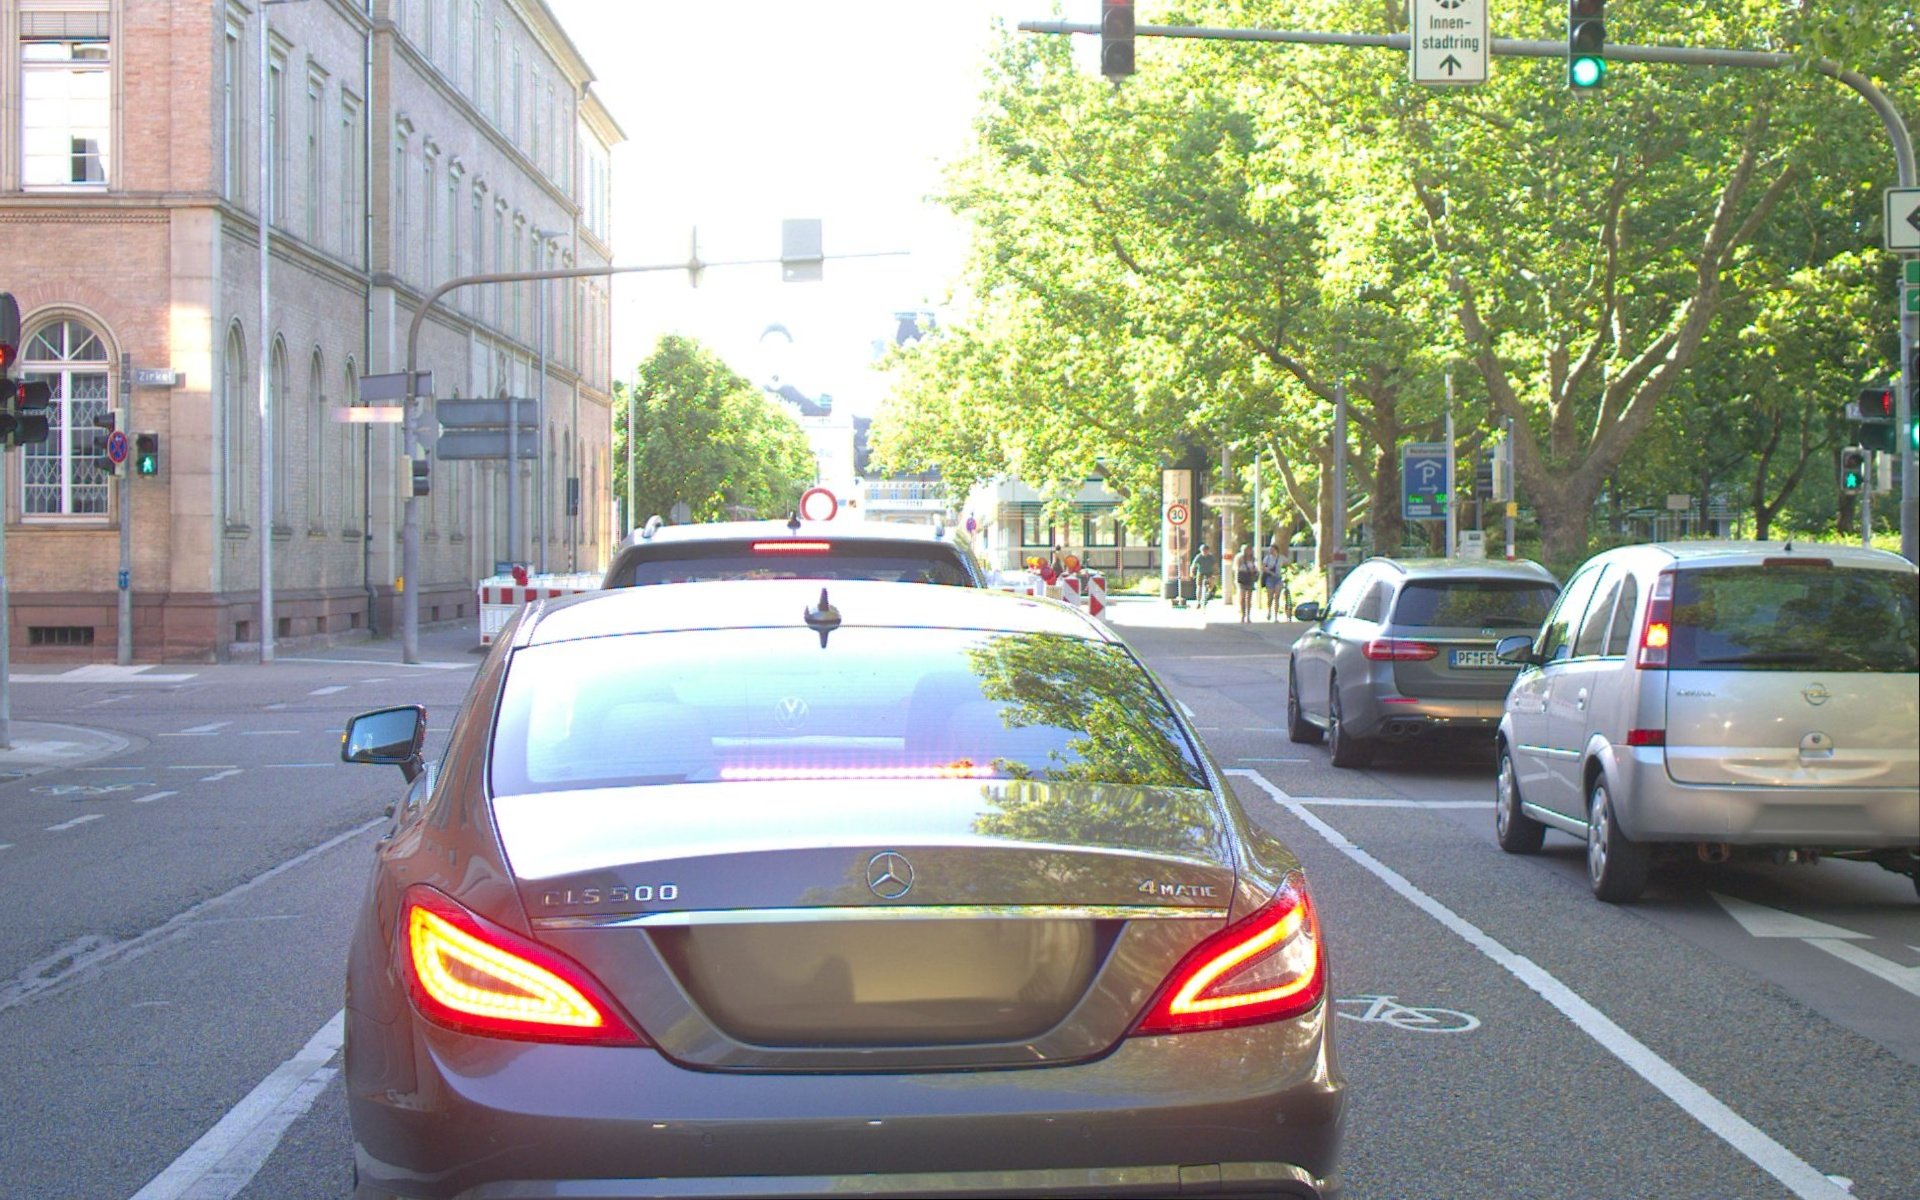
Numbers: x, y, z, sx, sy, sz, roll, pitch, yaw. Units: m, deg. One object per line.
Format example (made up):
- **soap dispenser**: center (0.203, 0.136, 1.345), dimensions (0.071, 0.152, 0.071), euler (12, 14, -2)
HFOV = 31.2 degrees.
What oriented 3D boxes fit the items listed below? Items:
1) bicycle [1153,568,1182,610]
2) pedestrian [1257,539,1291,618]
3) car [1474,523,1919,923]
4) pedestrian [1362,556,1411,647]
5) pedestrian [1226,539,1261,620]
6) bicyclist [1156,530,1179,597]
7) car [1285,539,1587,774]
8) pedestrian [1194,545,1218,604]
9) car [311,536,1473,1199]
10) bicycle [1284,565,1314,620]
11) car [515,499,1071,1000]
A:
- **bicycle**: center (6.342, -0.349, 105.001), dimensions (0.591, 1.259, 1.806), euler (1, 1, -5)
- **pedestrian**: center (6.999, -0.480, 76.663), dimensions (0.635, 1.754, 0.699), euler (1, 0, -4)
- **car**: center (3.598, 0.500, 16.229), dimensions (1.731, 1.656, 3.681), euler (1, 1, -1)
- **pedestrian**: center (7.278, 0.018, 58.647), dimensions (0.635, 1.540, 0.910), euler (1, 0, -4)
- **pedestrian**: center (6.322, -0.455, 76.695), dimensions (0.635, 1.791, 0.699), euler (1, 0, -4)
- **bicyclist**: center (6.331, -1.120, 105.019), dimensions (0.594, 2.032, 0.566), euler (1, 0, -4)
- **car**: center (3.347, 0.356, 24.766), dimensions (1.601, 1.543, 3.681), euler (1, 1, -1)
- **pedestrian**: center (6.308, -0.653, 88.184), dimensions (0.555, 1.504, 0.346), euler (1, 0, -4)
- **car**: center (-0.365, 0.627, 7.478), dimensions (1.861, 1.514, 4.001), euler (0, 1, -8)
- **bicycle**: center (7.543, -0.179, 76.488), dimensions (0.482, 1.198, 1.606), euler (1, 1, -1)
- **car**: center (-0.586, 0.472, 13.608), dimensions (1.861, 1.677, 4.000), euler (1, 1, -1)
